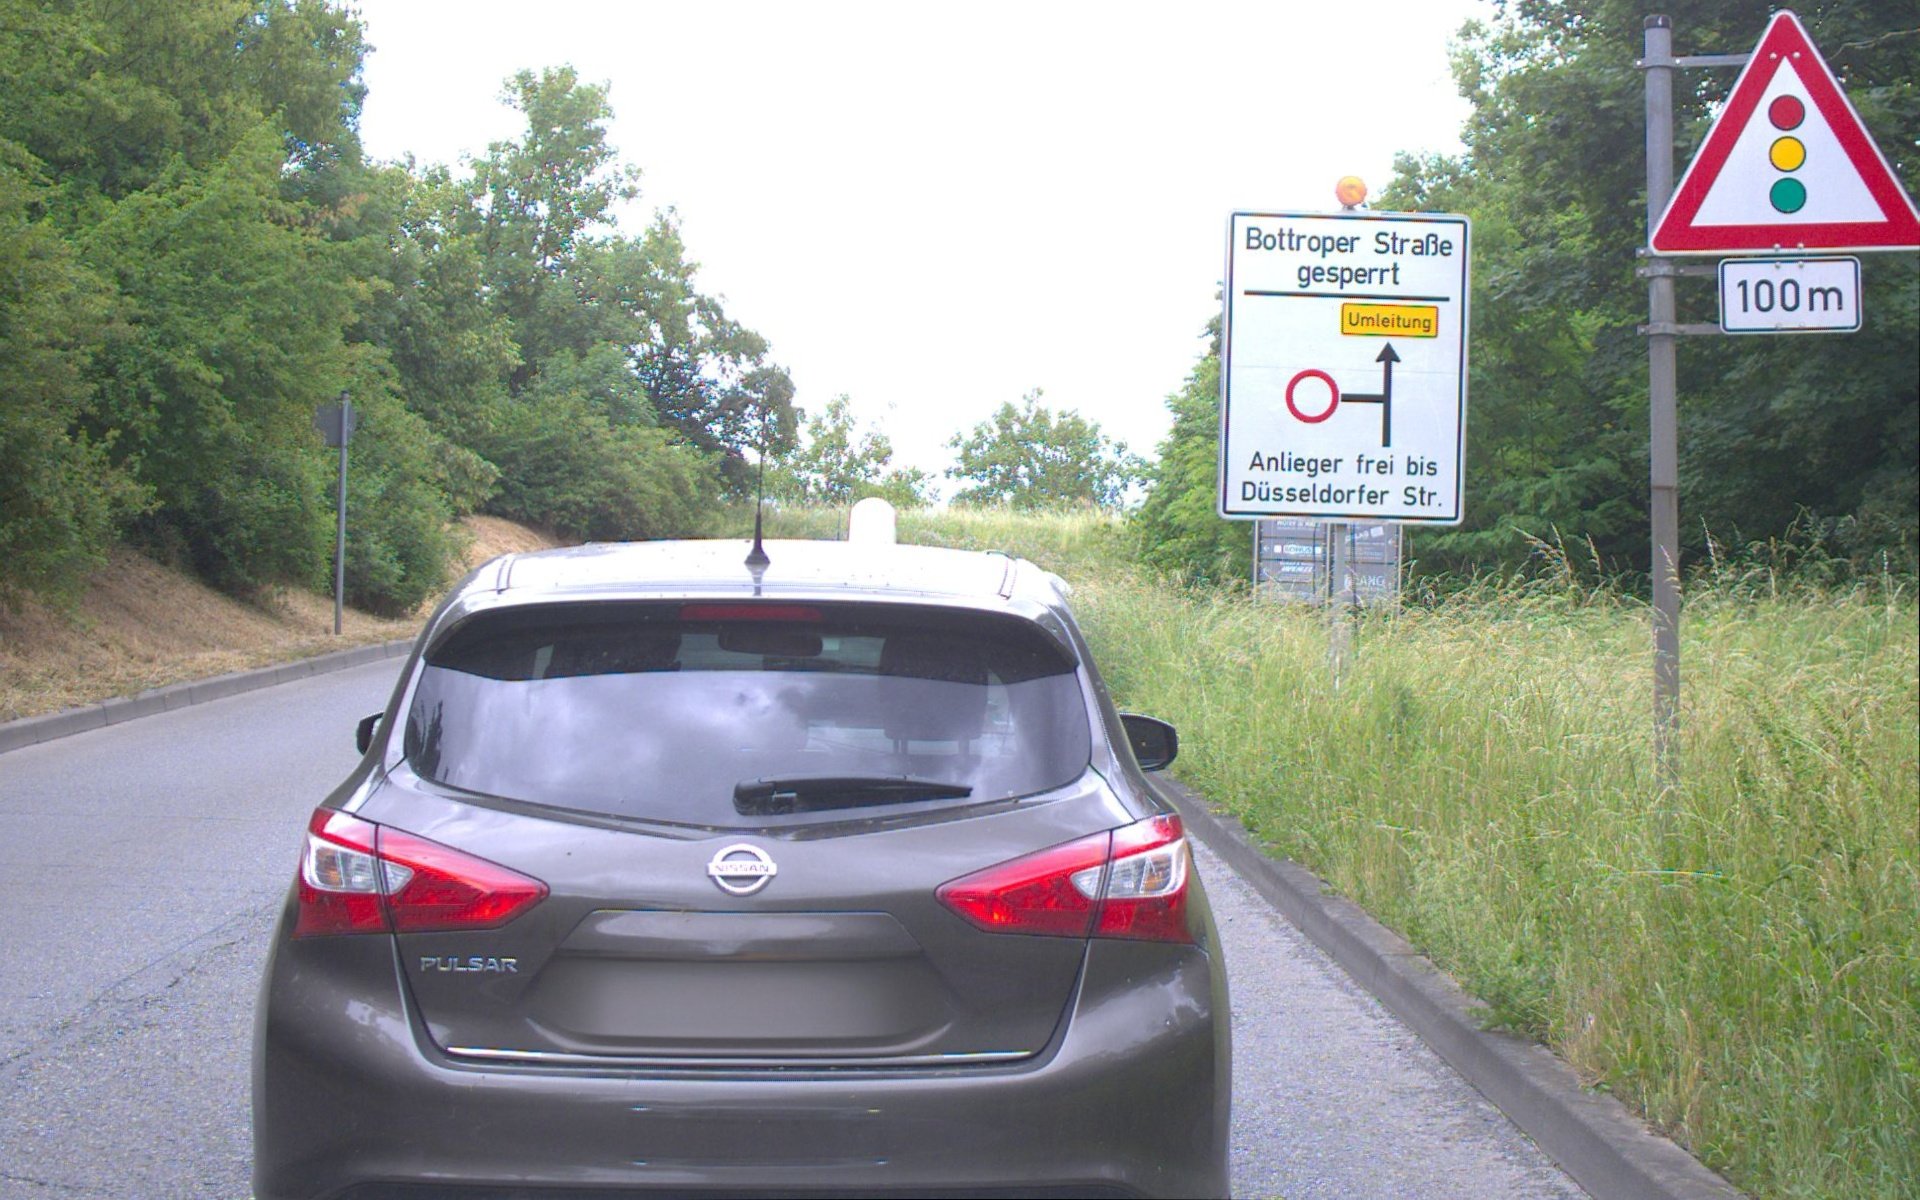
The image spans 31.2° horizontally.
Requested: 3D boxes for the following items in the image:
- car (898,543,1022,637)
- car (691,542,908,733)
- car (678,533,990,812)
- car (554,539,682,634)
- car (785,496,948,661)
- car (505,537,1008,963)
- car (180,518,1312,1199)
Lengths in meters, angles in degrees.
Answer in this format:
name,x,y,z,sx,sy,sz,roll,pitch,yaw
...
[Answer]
name,x,y,z,sx,sy,sz,roll,pitch,yaw
car,0.033,-0.184,57.816,1.736,1.521,3.543,0,1,6
car,-1.344,0.278,29.977,1.736,1.551,3.544,0,1,0
car,-0.714,0.375,20.988,1.736,1.551,3.544,0,1,0
car,-5.230,-0.233,52.947,1.642,1.395,3.822,0,1,-1
car,-1.107,-0.288,42.142,1.736,1.928,3.543,0,1,3
car,-0.751,0.515,14.369,1.830,1.551,3.625,0,1,0
car,-0.411,0.616,7.334,1.830,1.551,3.500,0,1,-2
